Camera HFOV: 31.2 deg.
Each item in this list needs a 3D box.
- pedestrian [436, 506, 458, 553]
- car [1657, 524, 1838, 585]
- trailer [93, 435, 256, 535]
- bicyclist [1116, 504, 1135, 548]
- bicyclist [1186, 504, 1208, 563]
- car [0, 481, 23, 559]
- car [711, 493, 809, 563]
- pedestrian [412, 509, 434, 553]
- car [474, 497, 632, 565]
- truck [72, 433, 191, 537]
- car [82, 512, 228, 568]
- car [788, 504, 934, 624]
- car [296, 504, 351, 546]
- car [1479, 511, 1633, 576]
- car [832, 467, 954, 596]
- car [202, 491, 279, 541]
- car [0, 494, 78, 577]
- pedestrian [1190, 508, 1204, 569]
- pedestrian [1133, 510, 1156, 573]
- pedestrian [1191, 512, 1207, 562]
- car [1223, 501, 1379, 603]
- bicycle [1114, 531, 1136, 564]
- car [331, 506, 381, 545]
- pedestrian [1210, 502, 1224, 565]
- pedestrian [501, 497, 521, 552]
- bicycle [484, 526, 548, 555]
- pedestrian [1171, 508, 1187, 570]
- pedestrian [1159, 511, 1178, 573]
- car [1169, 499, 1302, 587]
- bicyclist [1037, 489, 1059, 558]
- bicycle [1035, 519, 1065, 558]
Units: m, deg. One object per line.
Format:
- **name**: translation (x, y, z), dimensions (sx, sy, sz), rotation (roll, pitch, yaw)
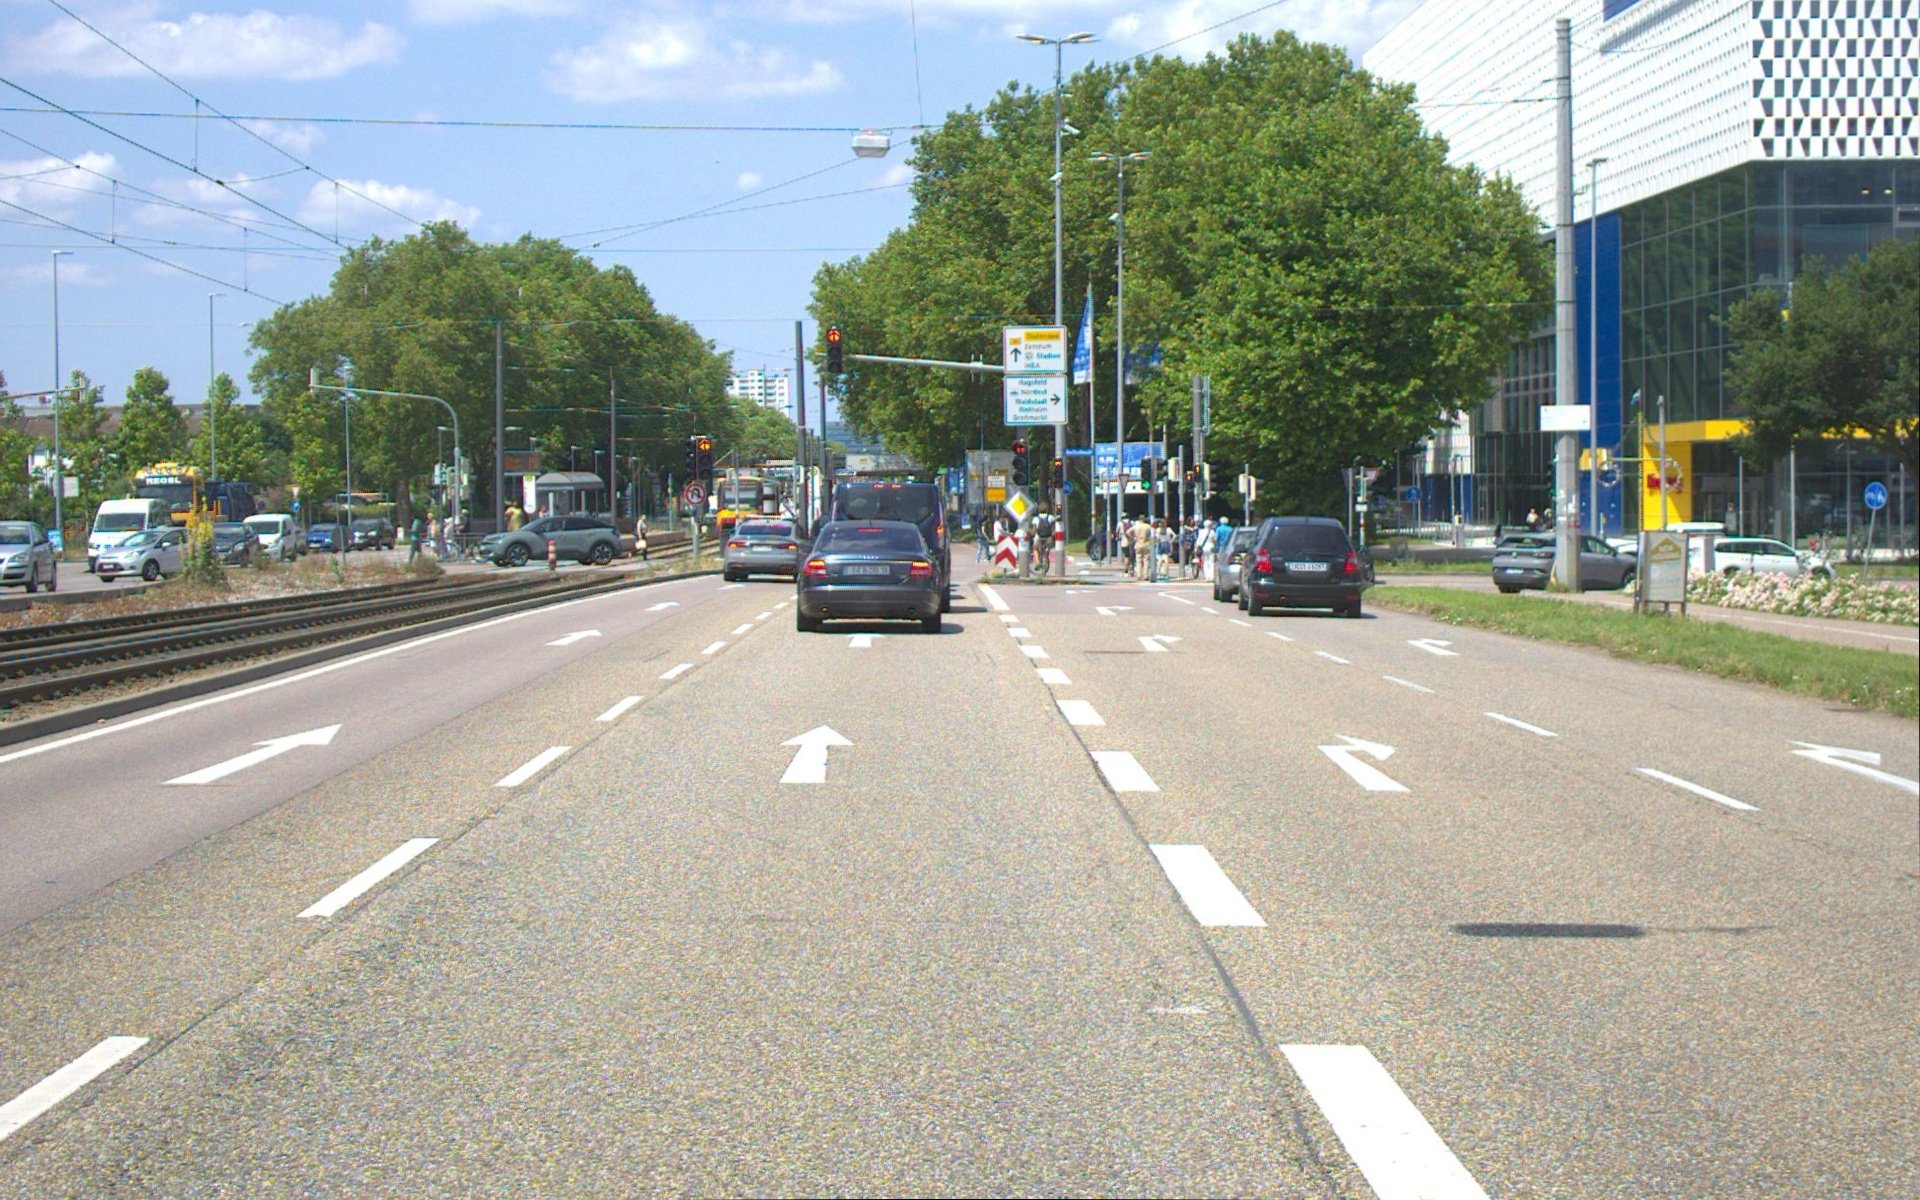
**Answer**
- **pedestrian**: translation (-17.159, -2.350, 115.016), dimensions (0.685, 1.559, 0.573), rotation (1, 1, -4)
- **car**: translation (21.637, -1.256, 94.482), dimensions (4.374, 1.481, 2.001), rotation (2, 2, -14)
- **trailer**: translation (-29.554, -4.266, 130.122), dimensions (2.767, 3.506, 15.880), rotation (1, 1, -1)
- **bicyclist**: translation (4.435, -1.985, 92.220), dimensions (0.470, 1.189, 0.791), rotation (1, 1, 2)
- **bicyclist**: translation (7.067, -1.976, 102.438), dimensions (0.529, 1.758, 0.827), rotation (1, 1, 13)
- **car**: translation (-23.682, -1.813, 79.986), dimensions (1.994, 1.824, 4.969), rotation (-2, 2, 5)
- **car**: translation (-4.488, -1.640, 77.582), dimensions (1.993, 1.481, 4.001), rotation (2, 2, -1)
- **pedestrian**: translation (-17.795, -2.283, 113.903), dimensions (0.685, 1.438, 0.573), rotation (1, 1, -4)
- **car**: translation (-12.458, -2.129, 105.296), dimensions (4.395, 1.911, 2.001), rotation (1, 2, -21)
- **truck**: translation (-29.413, -4.076, 122.269), dimensions (2.767, 3.557, 6.440), rotation (1, 1, -1)
- **car**: translation (-22.170, -1.658, 94.832), dimensions (1.825, 1.411, 3.879), rotation (-1, 2, 26)
- **car**: translation (-1.243, -0.502, 44.420), dimensions (1.792, 1.450, 4.001), rotation (-1, 2, -1)
- **car**: translation (-29.492, -3.470, 159.372), dimensions (1.817, 1.876, 4.000), rotation (1, 1, -1)
- **car**: translation (14.726, -1.384, 84.811), dimensions (1.998, 1.481, 4.136), rotation (3, 2, 37)
- **car**: translation (-1.062, -1.119, 54.564), dimensions (1.836, 1.943, 4.001), rotation (1, 2, -1)
- **car**: translation (-25.364, -2.971, 121.320), dimensions (1.822, 1.664, 4.462), rotation (2, 2, -1)
- **car**: translation (-19.029, -1.297, 69.033), dimensions (1.685, 1.578, 4.059), rotation (-3, 2, -2)
- **pedestrian**: translation (6.344, -1.645, 92.085), dimensions (0.339, 1.629, 0.377), rotation (1, 1, 2)
- **pedestrian**: translation (4.840, -1.534, 90.215), dimensions (0.554, 1.629, 0.433), rotation (1, 1, 2)
- **pedestrian**: translation (6.257, -1.661, 90.049), dimensions (0.372, 1.299, 0.365), rotation (1, 1, 2)
- **car**: translation (5.388, -0.796, 54.826), dimensions (1.993, 1.481, 4.001), rotation (2, 2, -1)
- **bicycle**: translation (4.396, -1.407, 91.805), dimensions (0.550, 0.874, 1.697), rotation (1, 1, 2)
- **car**: translation (-29.558, -3.666, 168.327), dimensions (1.817, 1.876, 4.000), rotation (1, 1, -1)
- **pedestrian**: translation (6.720, -1.746, 90.064), dimensions (0.320, 1.629, 0.377), rotation (1, 1, 2)
- **pedestrian**: translation (-16.420, -2.762, 125.616), dimensions (0.685, 2.007, 0.573), rotation (1, 1, -5)
- **bicycle**: translation (-14.642, -1.948, 113.290), dimensions (2.055, 0.922, 0.753), rotation (1, 1, -10)
- **pedestrian**: translation (5.870, -1.638, 92.226), dimensions (0.381, 1.629, 0.377), rotation (1, 1, 2)
- **pedestrian**: translation (5.461, -1.522, 90.117), dimensions (0.445, 1.629, 0.430), rotation (1, 1, 2)
- **car**: translation (4.992, -1.068, 62.769), dimensions (1.993, 1.481, 4.167), rotation (2, 2, -1)
- **bicyclist**: translation (2.306, -2.005, 90.367), dimensions (0.528, 1.783, 1.088), rotation (1, 1, 0)
- **bicycle**: translation (2.376, -1.630, 90.626), dimensions (0.687, 0.990, 2.752), rotation (1, 1, 0)
